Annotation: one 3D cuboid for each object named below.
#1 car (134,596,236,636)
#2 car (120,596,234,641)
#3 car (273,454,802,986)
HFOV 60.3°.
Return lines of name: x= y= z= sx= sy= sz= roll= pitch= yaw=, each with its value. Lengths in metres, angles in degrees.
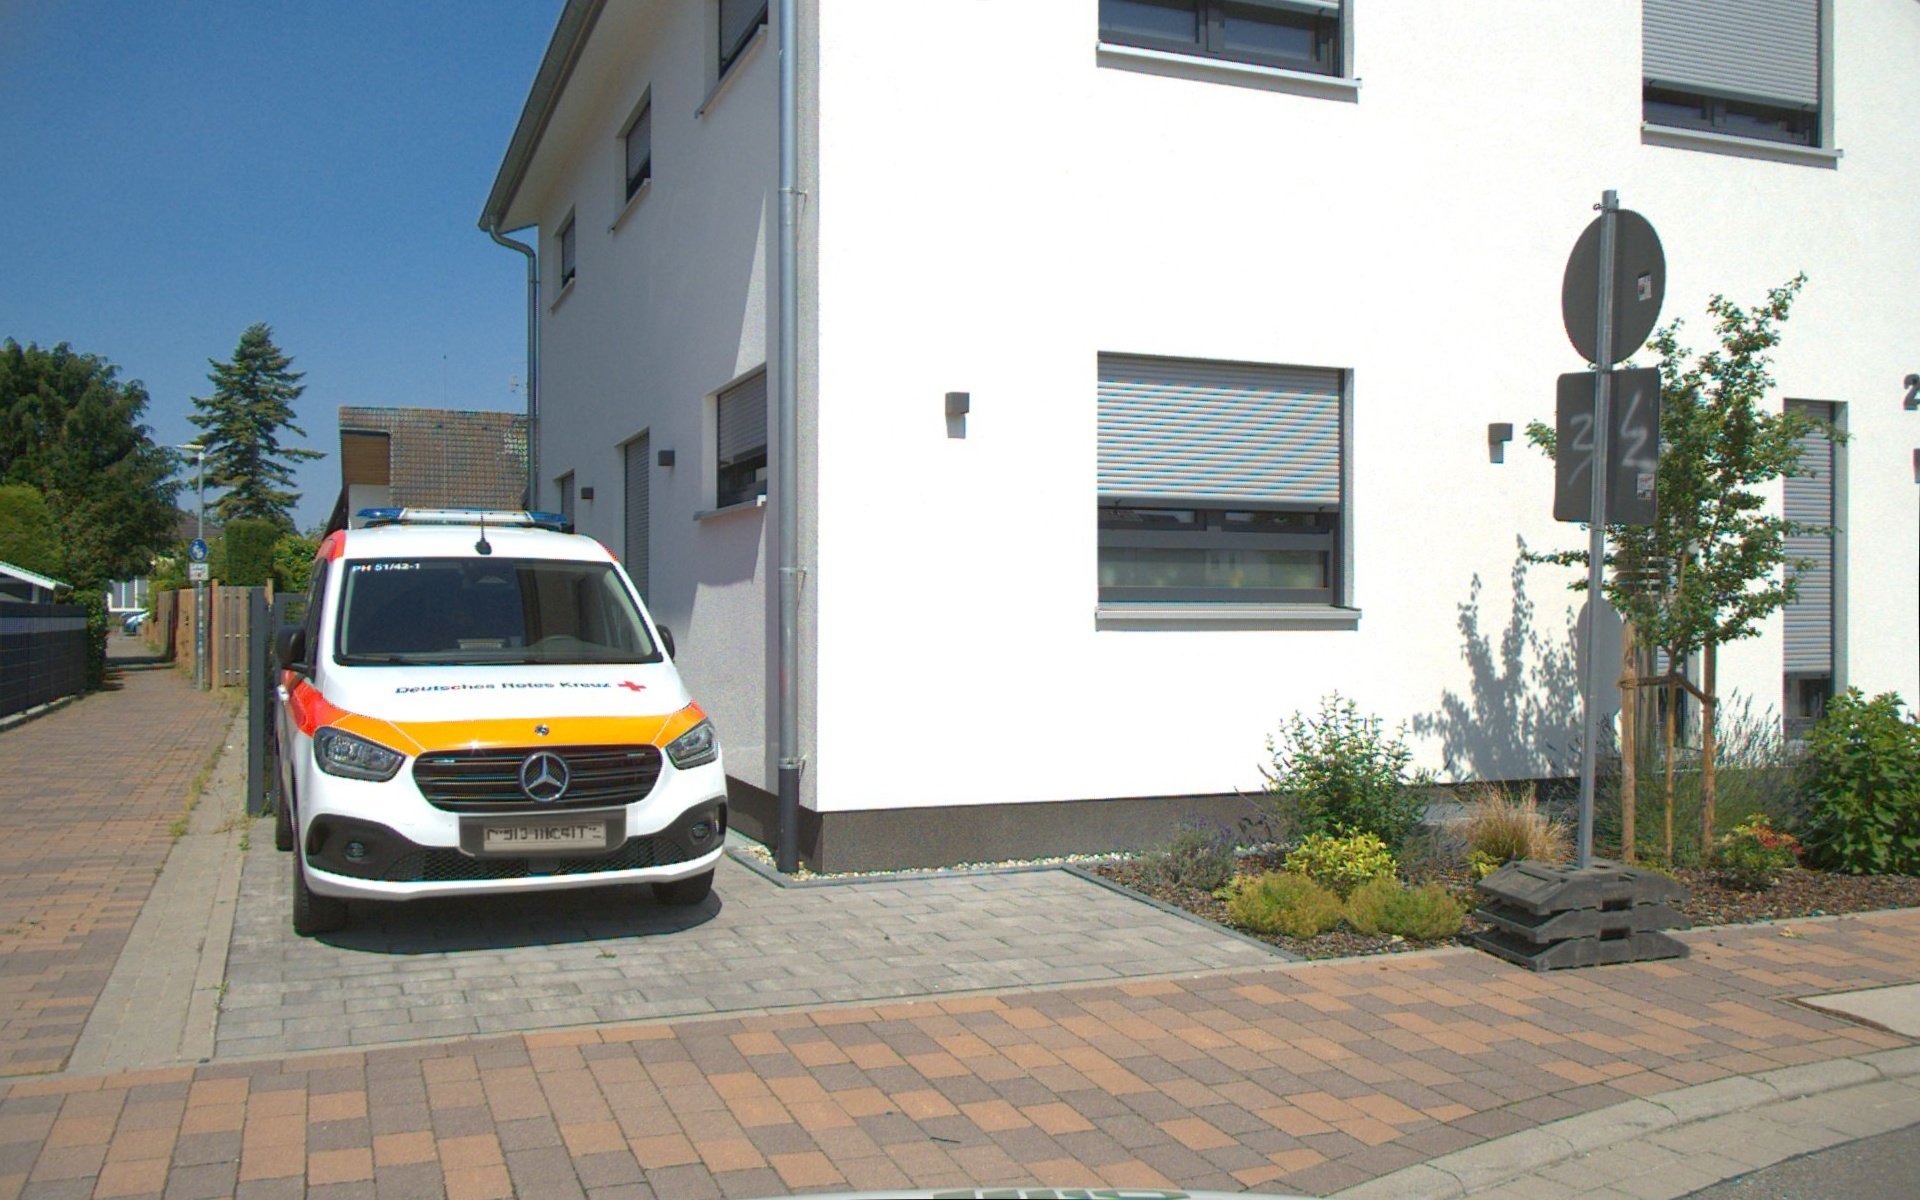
car: x=-34.799 y=0.707 z=74.382 sx=4.093 sy=1.747 sz=1.891 roll=0 pitch=0 yaw=-25
car: x=-31.402 y=0.724 z=66.446 sx=4.093 sy=1.747 sz=1.891 roll=0 pitch=0 yaw=-25
car: x=-2.448 y=0.451 z=8.495 sx=1.906 sy=1.908 sz=4.716 roll=0 pitch=-1 yaw=-24
